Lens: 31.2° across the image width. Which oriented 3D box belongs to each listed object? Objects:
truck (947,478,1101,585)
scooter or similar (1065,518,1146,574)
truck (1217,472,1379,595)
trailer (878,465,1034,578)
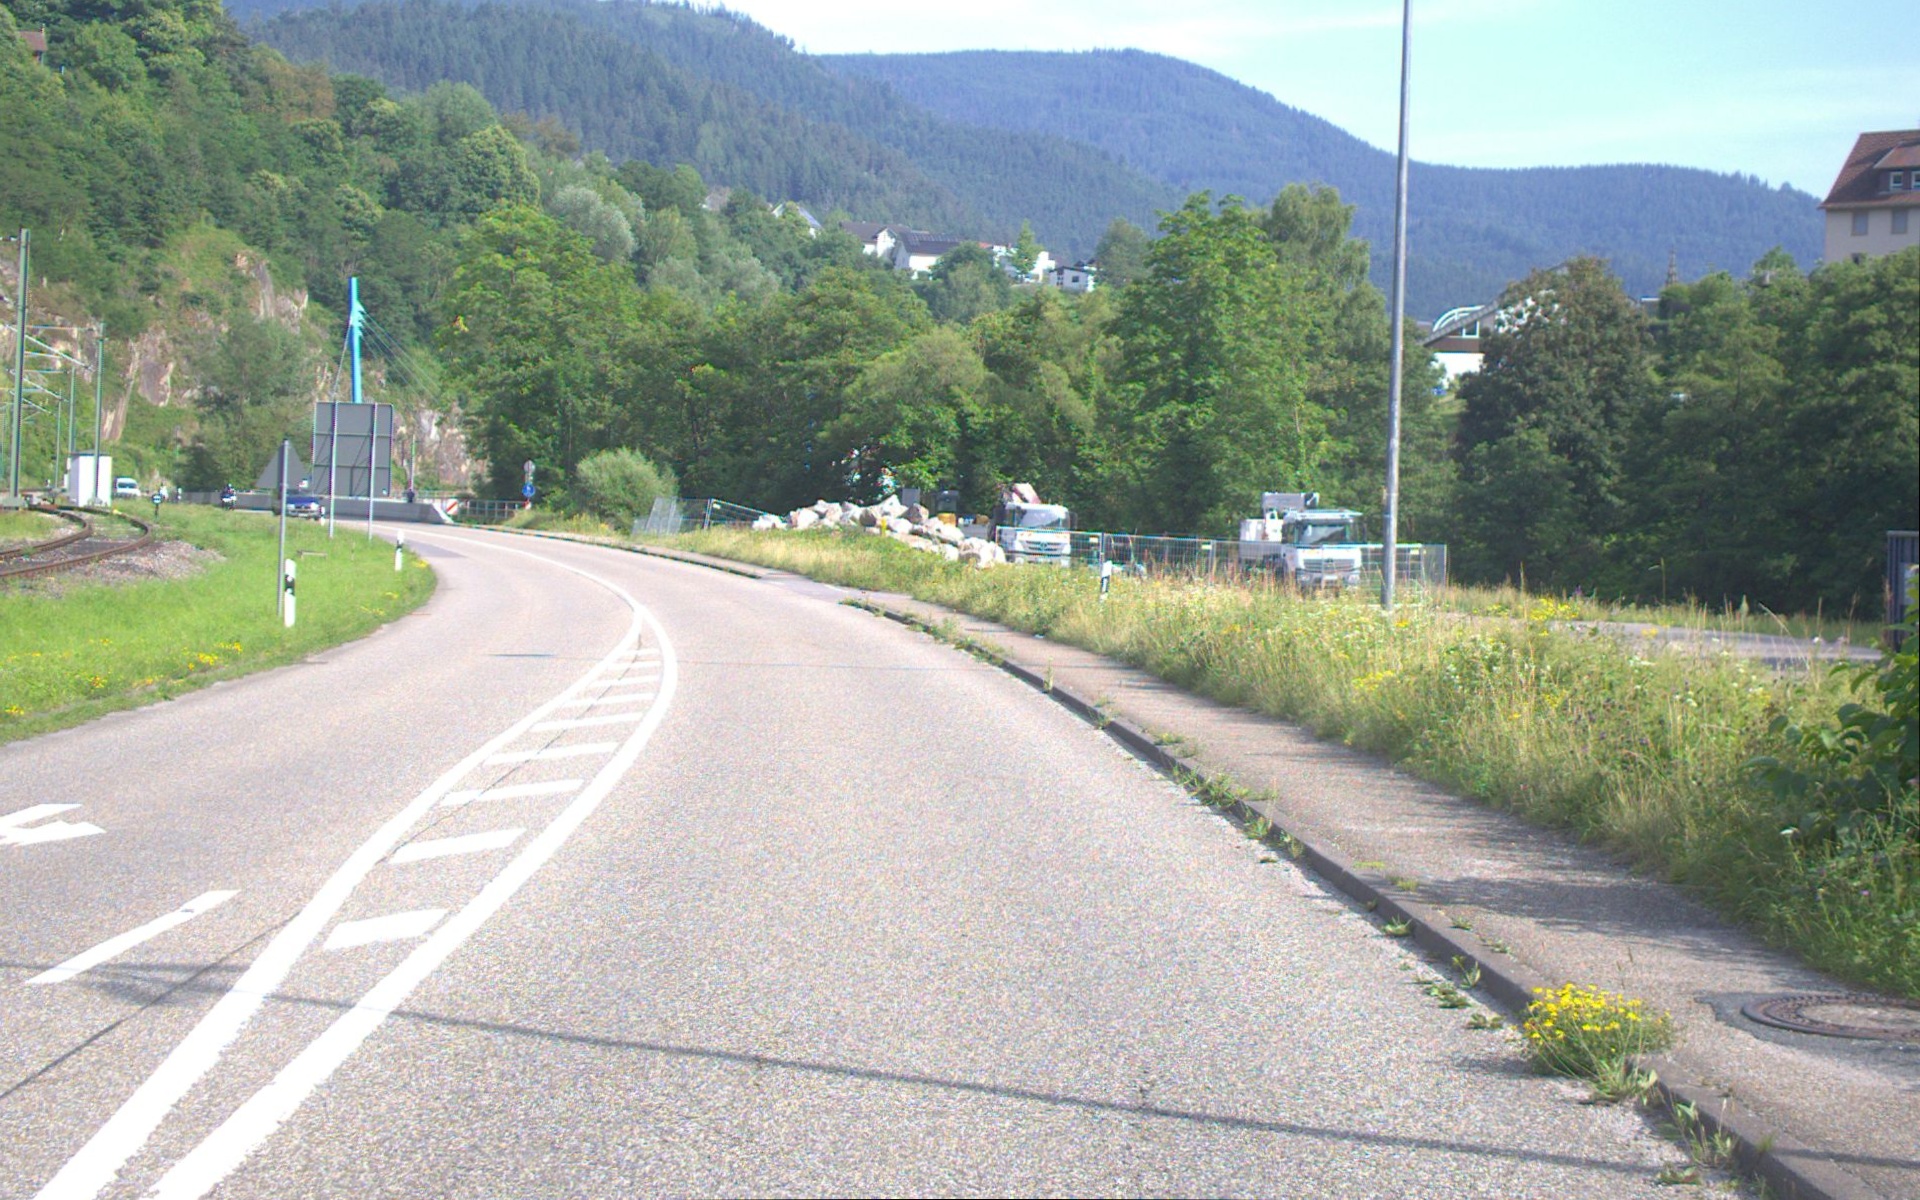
[{"bbox_3d":[2.341,-2.667,130.581,3.102,3.769,8.648,3,1,-17],"label":"truck"},{"bbox_3d":[5.489,-2.068,130.145,1.993,2.006,4.002,1,2,-14],"label":"scooter or similar"},{"bbox_3d":[11.099,-2.241,113.938,3.102,3.769,8.647,3,1,-9],"label":"truck"},{"bbox_3d":[-0.270,-3.175,139.453,3.364,4.259,9.912,3,1,-17],"label":"trailer"}]
